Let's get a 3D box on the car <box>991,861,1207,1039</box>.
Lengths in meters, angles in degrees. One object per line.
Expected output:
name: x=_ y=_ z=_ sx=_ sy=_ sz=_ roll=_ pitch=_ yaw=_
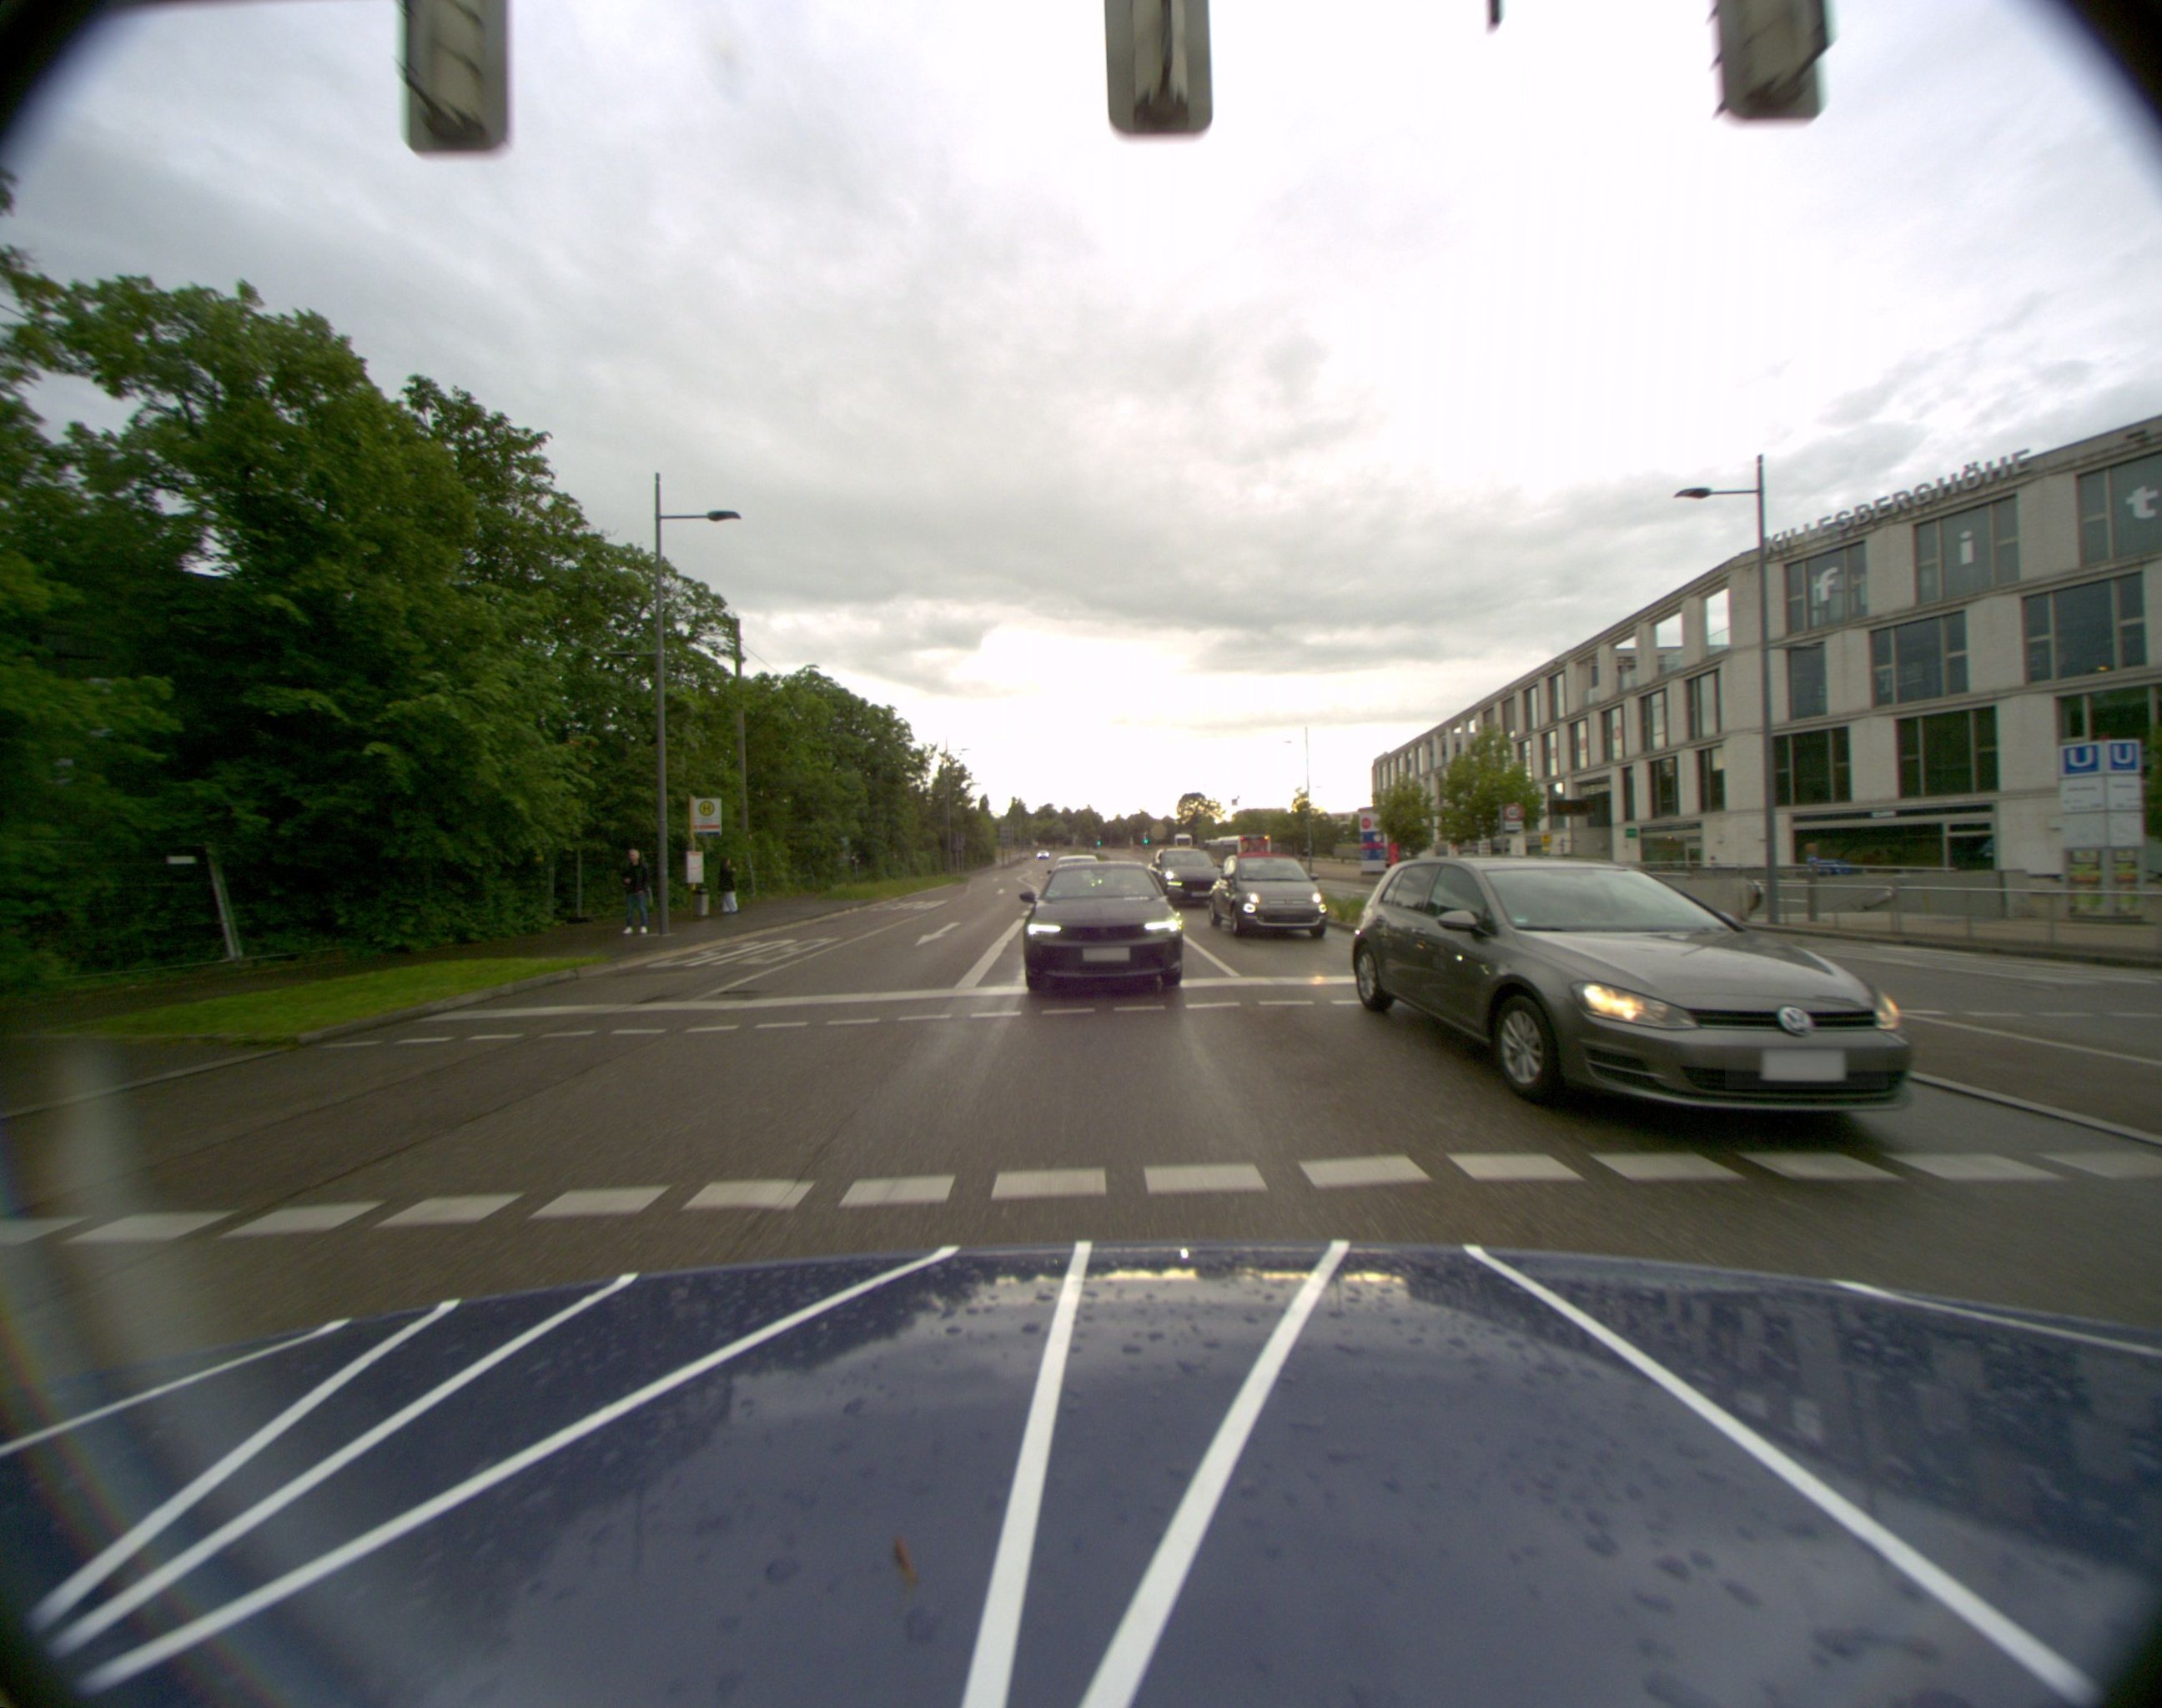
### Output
car: x=0.291 y=0.904 z=9.284 sx=1.901 sy=1.456 sz=4.768 roll=-2 pitch=1 yaw=3

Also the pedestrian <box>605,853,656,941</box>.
pedestrian: x=-10.190 y=0.956 z=17.197 sx=0.742 sy=1.937 sz=0.597 roll=-1 pitch=1 yaw=1

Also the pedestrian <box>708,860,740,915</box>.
pedestrian: x=-10.667 y=0.984 z=22.706 sx=0.588 sy=1.618 sz=0.661 roll=-1 pitch=1 yaw=1

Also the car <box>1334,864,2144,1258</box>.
car: x=3.382 y=0.869 z=5.249 sx=1.820 sy=1.473 sz=4.376 roll=-1 pitch=0 yaw=0

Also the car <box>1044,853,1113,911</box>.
car: x=0.024 y=0.807 z=24.270 sx=1.901 sy=1.524 sz=4.768 roll=-2 pitch=1 yaw=2

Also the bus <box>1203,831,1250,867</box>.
bus: x=13.841 y=-0.506 z=73.021 sx=2.693 sy=3.163 sz=9.912 roll=-2 pitch=1 yaw=2

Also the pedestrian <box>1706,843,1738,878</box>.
pedestrian: x=30.417 y=0.308 z=36.067 sx=0.765 sy=1.596 sz=0.913 roll=-1 pitch=1 yaw=-22

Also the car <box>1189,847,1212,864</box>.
car: x=13.244 y=0.122 z=84.650 sx=1.867 sy=1.777 sz=3.999 roll=-2 pitch=1 yaw=0

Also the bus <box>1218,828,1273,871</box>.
bus: x=13.607 y=-0.379 z=63.515 sx=2.759 sy=3.194 sz=9.207 roll=-2 pitch=1 yaw=2

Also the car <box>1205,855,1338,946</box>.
car: x=3.488 y=0.781 z=14.521 sx=1.631 sy=1.473 sz=3.506 roll=-1 pitch=0 yaw=0

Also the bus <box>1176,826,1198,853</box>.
bus: x=17.888 y=-2.425 z=127.159 sx=2.757 sy=4.129 sz=19.359 roll=-2 pitch=1 yaw=11

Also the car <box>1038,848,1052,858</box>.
car: x=-6.560 y=-0.195 z=136.734 sx=2.000 sy=1.805 sz=3.996 roll=-3 pitch=1 yaw=-10

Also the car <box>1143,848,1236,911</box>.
car: x=3.089 y=0.675 z=22.609 sx=1.934 sy=1.649 sz=4.616 roll=-1 pitch=0 yaw=-2
